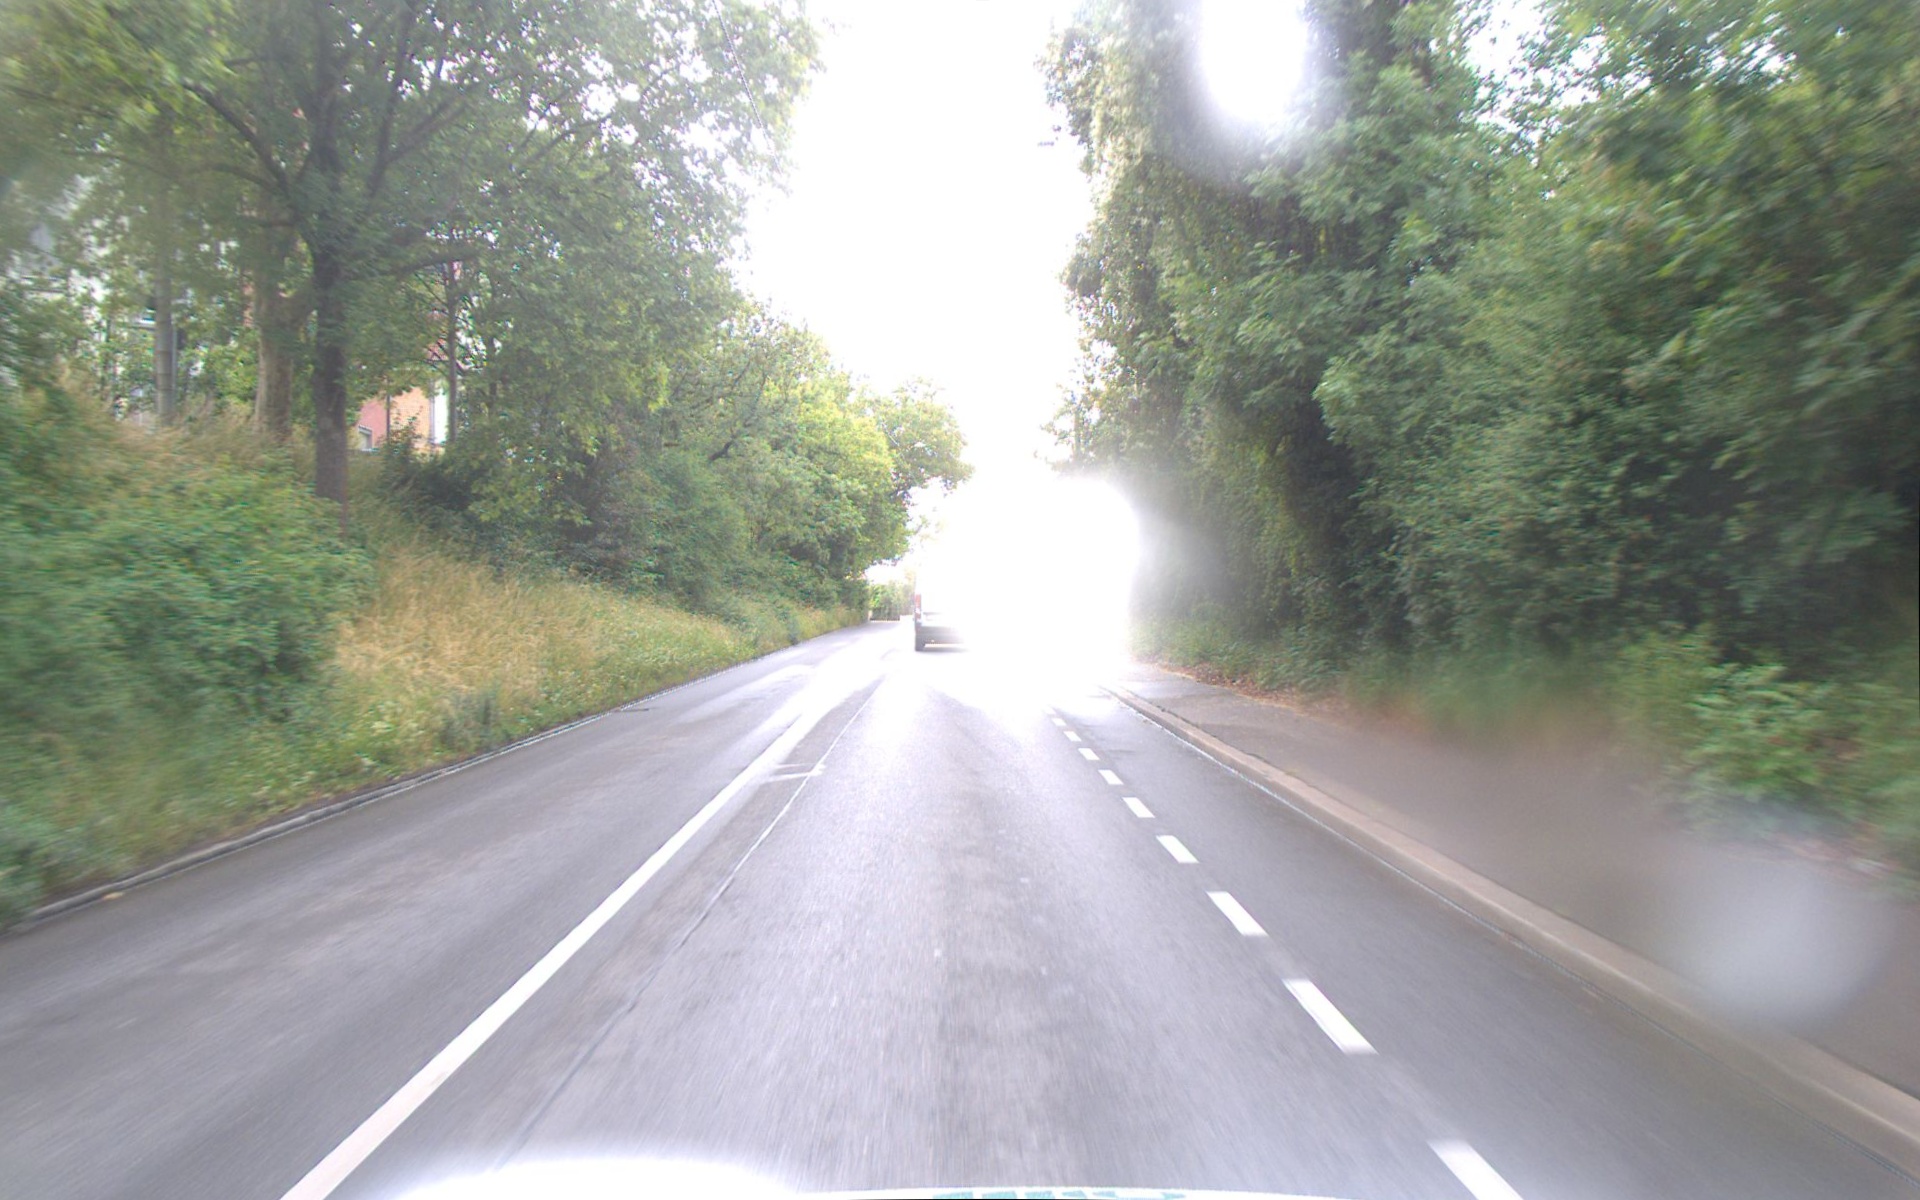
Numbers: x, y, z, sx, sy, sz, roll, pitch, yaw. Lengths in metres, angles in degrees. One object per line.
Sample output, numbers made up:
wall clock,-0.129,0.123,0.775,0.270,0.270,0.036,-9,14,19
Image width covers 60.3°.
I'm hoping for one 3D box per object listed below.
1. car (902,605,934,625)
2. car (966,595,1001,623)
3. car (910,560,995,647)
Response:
car,-3.901,1.410,153.606,2.074,1.741,4.697,1,0,-13
car,1.608,0.618,115.473,2.192,1.836,4.711,1,0,-2
car,-0.223,0.081,45.946,2.192,2.252,4.712,1,0,-1
